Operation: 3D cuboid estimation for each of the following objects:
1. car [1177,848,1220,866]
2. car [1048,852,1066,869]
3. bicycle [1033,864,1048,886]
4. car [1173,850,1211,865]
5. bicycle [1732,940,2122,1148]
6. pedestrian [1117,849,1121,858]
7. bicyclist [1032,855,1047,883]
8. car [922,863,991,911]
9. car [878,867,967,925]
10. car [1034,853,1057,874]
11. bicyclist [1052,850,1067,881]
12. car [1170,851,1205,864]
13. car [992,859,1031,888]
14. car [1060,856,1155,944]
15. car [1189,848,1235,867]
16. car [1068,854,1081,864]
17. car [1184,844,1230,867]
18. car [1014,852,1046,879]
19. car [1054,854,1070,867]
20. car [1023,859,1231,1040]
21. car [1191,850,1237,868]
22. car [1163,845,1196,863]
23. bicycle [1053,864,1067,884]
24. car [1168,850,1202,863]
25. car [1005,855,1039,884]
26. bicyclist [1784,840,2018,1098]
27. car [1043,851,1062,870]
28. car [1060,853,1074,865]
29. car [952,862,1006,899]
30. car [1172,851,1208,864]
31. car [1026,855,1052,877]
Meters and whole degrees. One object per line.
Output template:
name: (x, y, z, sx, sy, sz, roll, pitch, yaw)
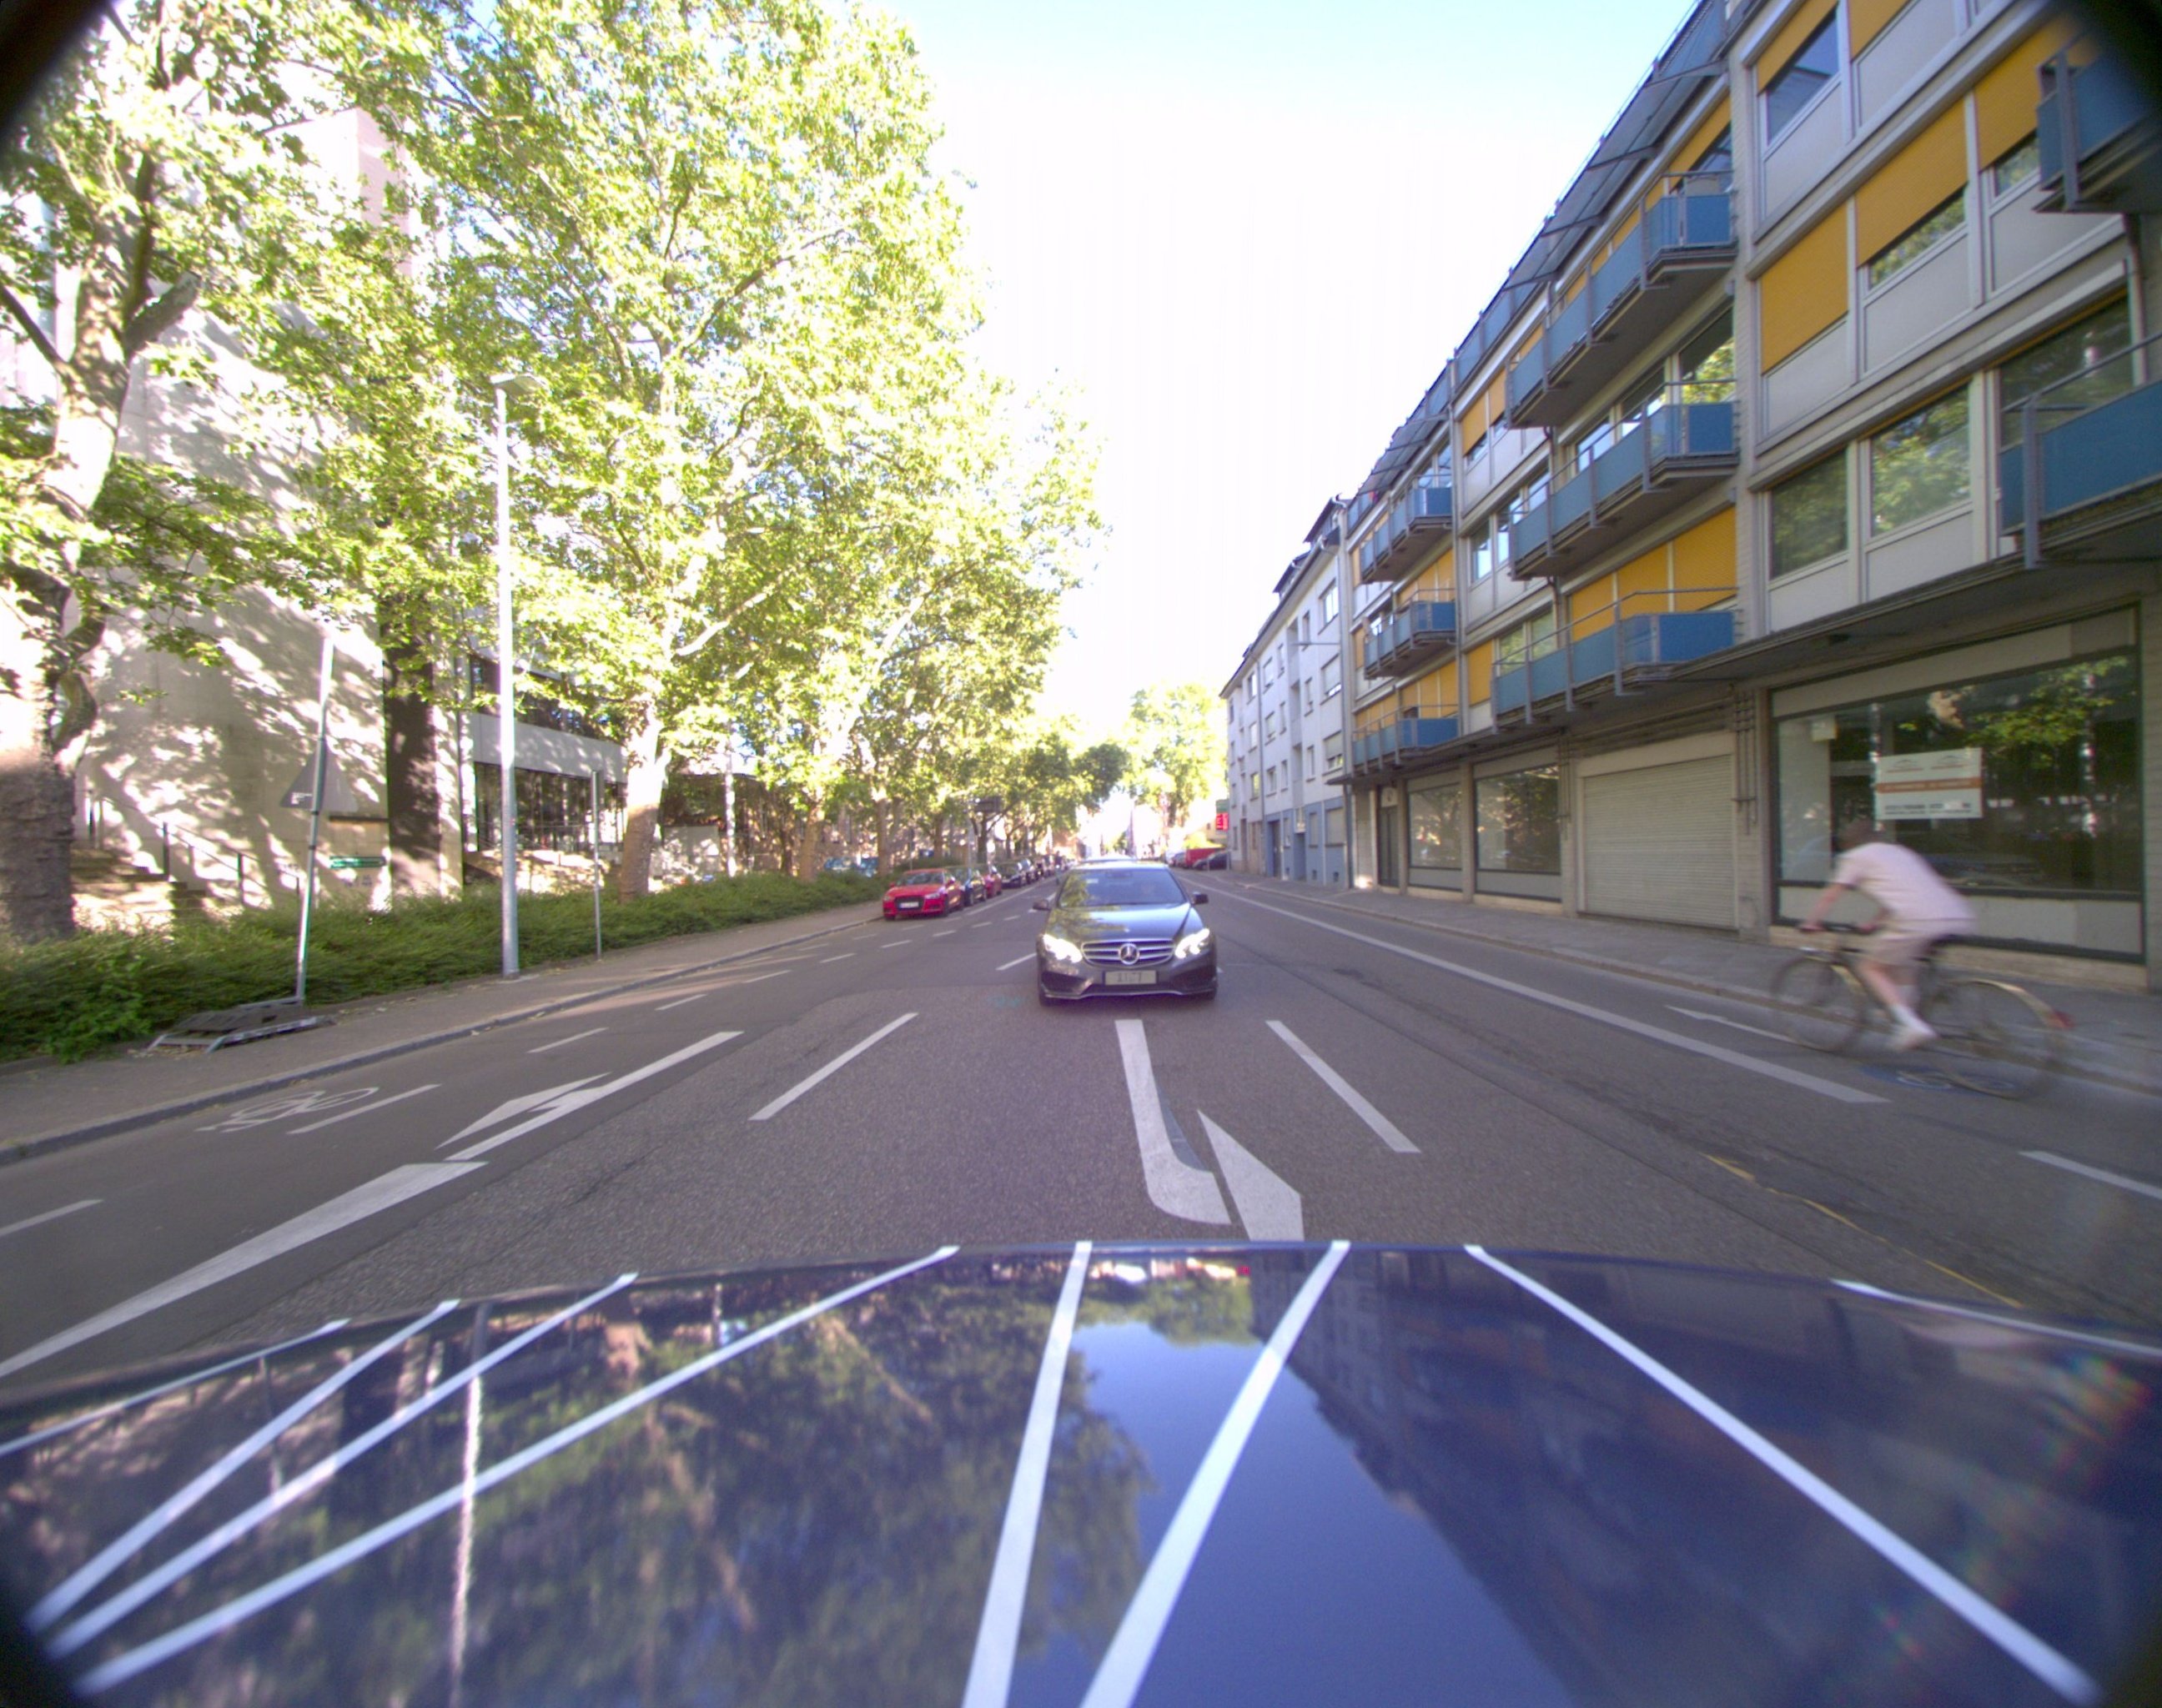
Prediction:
car: (11.093, 0.289, 71.883, 3.905, 1.577, 1.604, -2, 1, 3)
car: (-2.539, 0.676, 81.389, 1.686, 1.749, 3.837, -2, 0, 1)
bicycle: (-2.285, 1.162, 42.587, 0.667, 1.093, 1.814, -3, 1, 1)
car: (11.976, 0.388, 82.082, 3.905, 1.366, 1.595, -2, 1, 3)
bicycle: (5.397, 1.142, 5.063, 0.549, 0.886, 1.868, -2, 1, 2)
pedestrian: (9.525, -0.125, 192.705, 0.884, 2.108, 0.821, -2, 1, 2)
bicyclist: (-2.305, 0.835, 42.507, 0.755, 1.512, 0.768, -3, 1, 0)
car: (-4.468, 1.146, 27.811, 1.686, 1.458, 4.000, -3, 0, 1)
car: (-4.677, 1.205, 23.055, 1.724, 1.412, 4.031, -4, 0, 1)
car: (-2.973, 0.785, 64.744, 1.663, 1.704, 3.837, -2, 0, 1)
bicyclist: (-1.226, 0.650, 43.301, 0.755, 1.714, 0.768, -3, 1, 0)
car: (12.199, 0.362, 87.222, 3.905, 1.325, 1.525, -2, 1, 3)
car: (-3.837, 1.071, 42.789, 1.686, 1.443, 4.000, -2, 0, 1)
car: (0.536, 0.868, 16.475, 1.732, 1.538, 4.294, -3, 1, 1)
car: (11.400, 0.310, 66.236, 3.667, 1.501, 1.602, -2, 1, 3)
car: (-0.984, 0.701, 112.178, 1.686, 1.475, 3.837, -2, 0, 1)
car: (11.398, 0.120, 69.081, 3.905, 1.895, 1.749, -2, 0, 3)
car: (-3.563, 0.800, 53.572, 1.819, 1.758, 4.431, -2, 0, 1)
car: (-2.282, 0.791, 92.432, 1.638, 1.493, 3.753, -2, 0, 1)
car: (0.450, 0.889, 9.042, 1.828, 1.495, 4.294, -3, 1, 1)
car: (11.186, 0.410, 63.834, 3.598, 1.401, 1.535, -2, 0, 3)
car: (12.205, -0.009, 94.402, 3.905, 2.164, 1.725, -2, 1, 3)
bicycle: (-1.166, 1.127, 43.336, 0.667, 1.093, 1.814, -3, 1, 1)
car: (12.261, 0.296, 89.907, 3.782, 1.432, 1.539, -2, 1, 3)
car: (-3.621, 0.932, 47.445, 1.686, 1.610, 3.837, -2, 0, 1)
bicyclist: (5.362, 0.698, 5.025, 0.650, 1.549, 0.807, -3, 1, 1)
car: (-2.803, 0.628, 75.601, 1.645, 1.839, 3.837, -2, 0, 1)
car: (-1.858, 0.647, 101.049, 1.686, 1.546, 3.837, -2, 0, 1)
car: (-4.367, 1.114, 32.996, 1.666, 1.426, 3.781, -2, 0, 1)
car: (12.145, 0.388, 84.834, 3.905, 1.325, 1.525, -2, 1, 3)
car: (-3.273, 0.906, 59.892, 1.686, 1.552, 3.868, -2, 0, 1)
